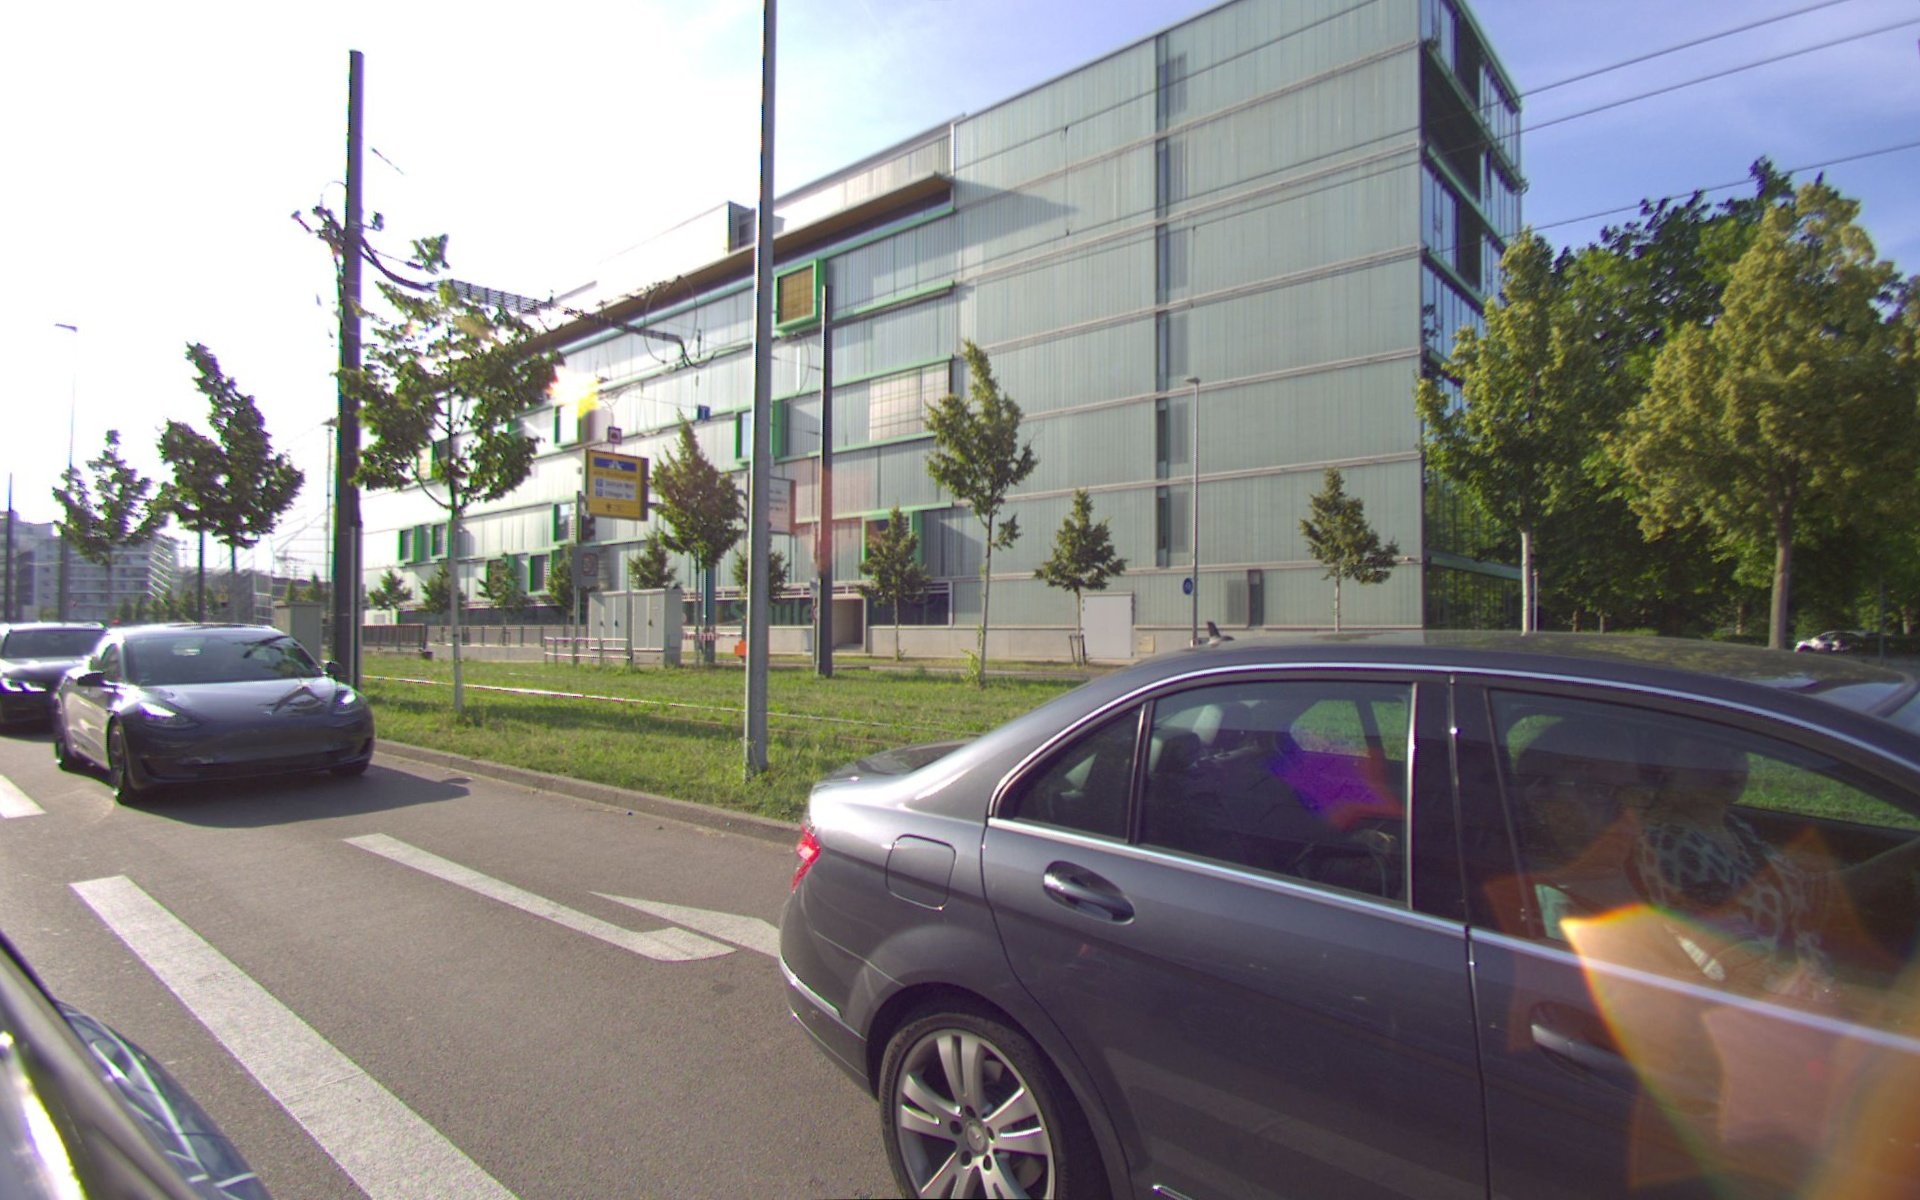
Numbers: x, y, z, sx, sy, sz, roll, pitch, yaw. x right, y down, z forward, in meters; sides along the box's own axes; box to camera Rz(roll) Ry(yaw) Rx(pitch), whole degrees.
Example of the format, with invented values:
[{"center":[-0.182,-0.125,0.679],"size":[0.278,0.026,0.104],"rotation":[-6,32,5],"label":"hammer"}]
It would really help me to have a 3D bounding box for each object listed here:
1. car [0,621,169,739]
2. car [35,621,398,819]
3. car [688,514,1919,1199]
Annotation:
[{"center":[-13.191,1.073,14.716],"size":[4.471,1.437,1.870],"rotation":[-2,-1,41],"label":"car"},{"center":[-7.127,0.949,9.525],"size":[4.332,1.396,1.870],"rotation":[-2,-1,41],"label":"car"},{"center":[1.431,0.648,2.020],"size":[4.353,1.490,1.767],"rotation":[-2,-1,43],"label":"car"}]
